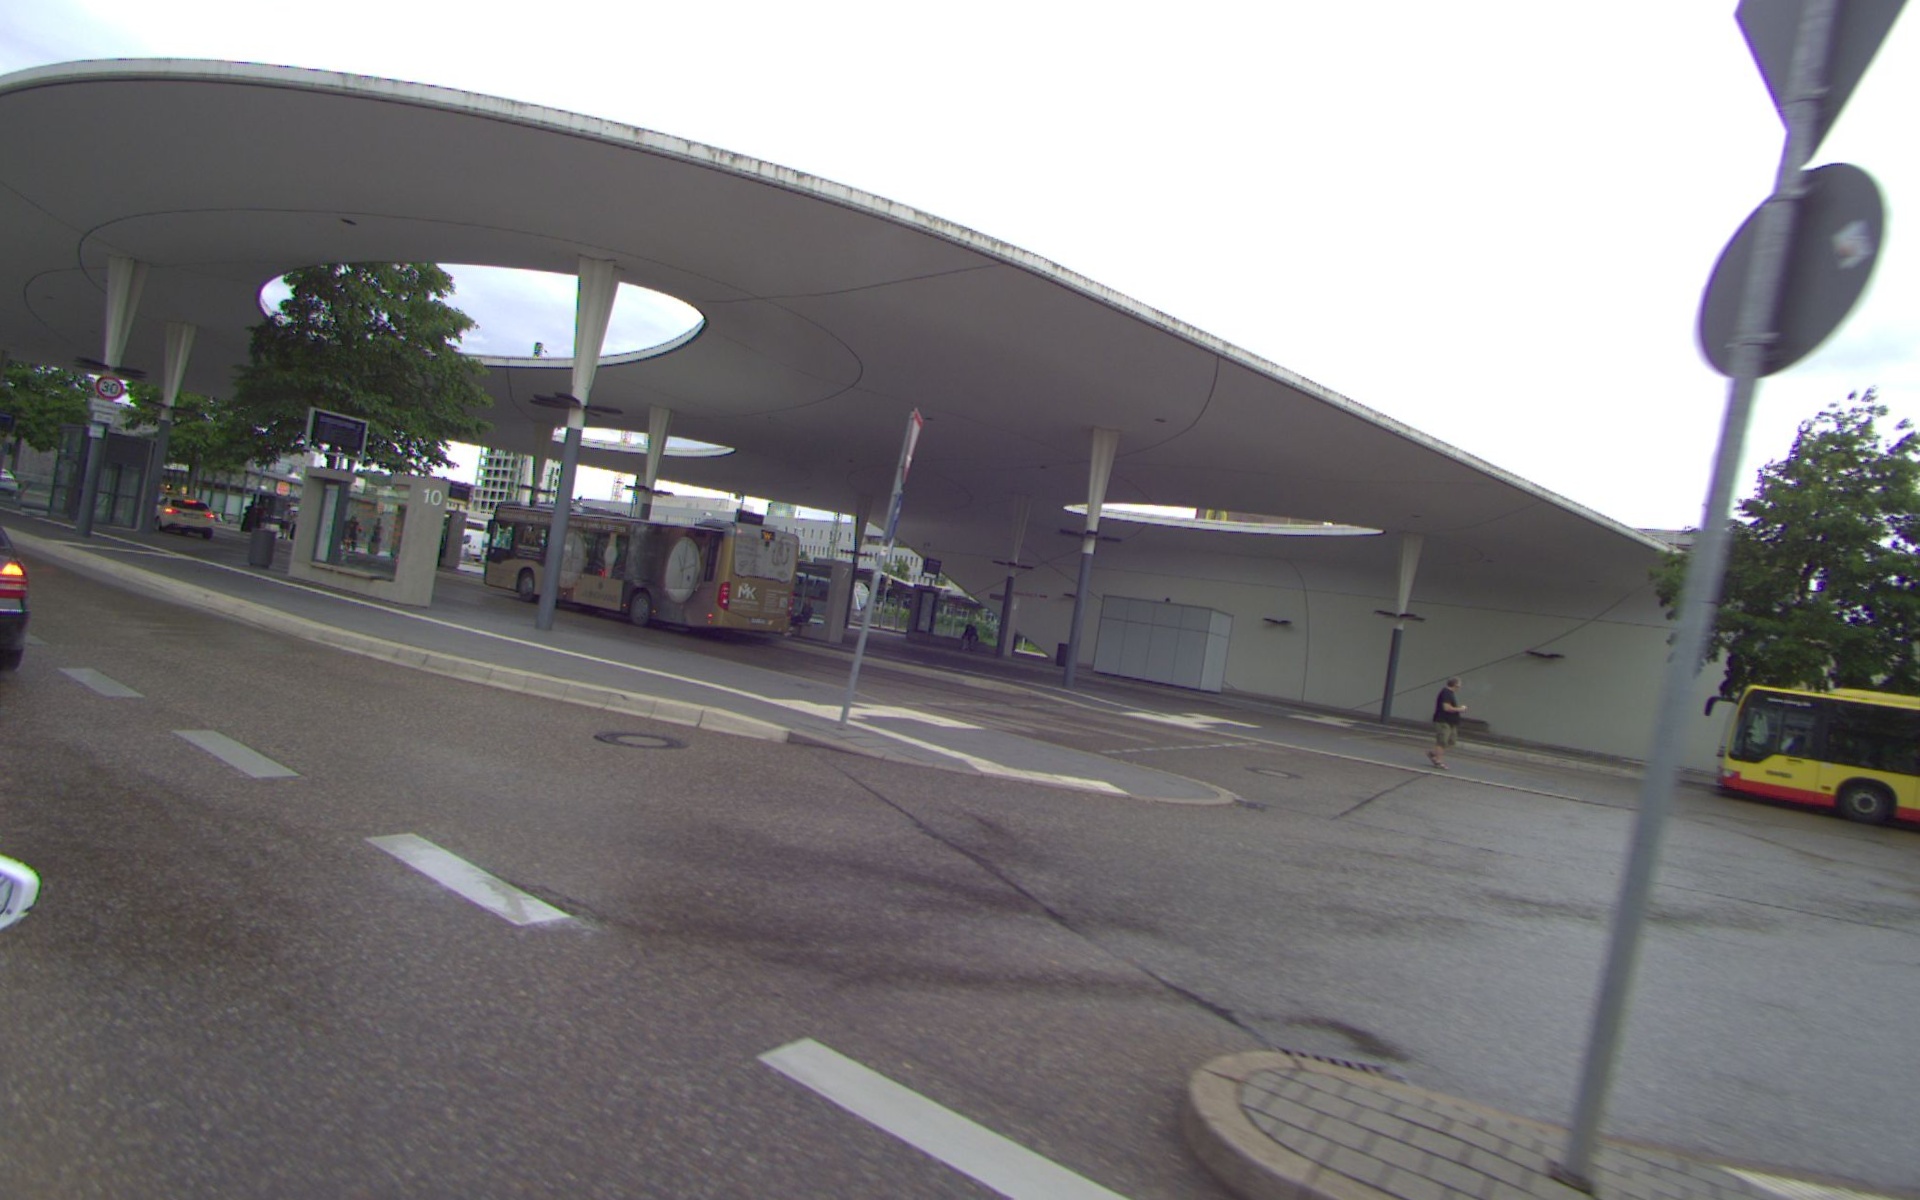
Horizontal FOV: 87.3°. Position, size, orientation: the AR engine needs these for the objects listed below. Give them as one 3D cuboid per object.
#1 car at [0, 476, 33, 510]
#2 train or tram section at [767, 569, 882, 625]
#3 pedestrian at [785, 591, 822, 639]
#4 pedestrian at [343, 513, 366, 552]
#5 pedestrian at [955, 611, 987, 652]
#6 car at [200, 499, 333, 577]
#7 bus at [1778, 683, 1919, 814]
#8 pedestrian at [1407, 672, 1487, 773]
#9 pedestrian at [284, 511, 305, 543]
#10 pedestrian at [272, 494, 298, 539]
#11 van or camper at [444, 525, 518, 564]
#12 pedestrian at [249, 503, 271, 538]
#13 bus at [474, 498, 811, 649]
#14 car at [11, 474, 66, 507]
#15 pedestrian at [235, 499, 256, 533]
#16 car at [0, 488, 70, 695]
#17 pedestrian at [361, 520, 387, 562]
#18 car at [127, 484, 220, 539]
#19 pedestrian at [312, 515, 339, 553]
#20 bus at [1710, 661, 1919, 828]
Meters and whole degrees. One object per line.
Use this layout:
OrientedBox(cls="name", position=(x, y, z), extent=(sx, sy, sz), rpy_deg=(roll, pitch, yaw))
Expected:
OrientedBox(cls="car", position=(-56.398, -6.431, 59.263), extent=(4.173, 1.681, 1.714), rpy_deg=(8, -1, 36))
OrientedBox(cls="train or tram section", position=(-13.093, -0.367, 96.112), extent=(11.434, 3.716, 3.139), rpy_deg=(8, -4, 36))
OrientedBox(cls="pedestrian", position=(-4.958, 0.472, 31.806), extent=(0.789, 1.394, 0.627), rpy_deg=(7, 0, -37))
OrientedBox(cls="pedestrian", position=(-29.044, -3.226, 48.250), extent=(0.706, 1.732, 0.758), rpy_deg=(3, 7, -41))
OrientedBox(cls="pedestrian", position=(0.480, 1.339, 43.226), extent=(0.893, 1.603, 0.797), rpy_deg=(7, -2, 30))
OrientedBox(cls="car", position=(-17.712, -1.588, 25.667), extent=(3.186, 1.470, 1.649), rpy_deg=(8, 0, 35))
OrientedBox(cls="bus", position=(30.869, 4.936, 29.866), extent=(9.701, 3.441, 2.516), rpy_deg=(7, 0, 35))
OrientedBox(cls="pedestrian", position=(9.179, 2.290, 18.988), extent=(1.002, 1.705, 0.719), rpy_deg=(7, 1, 10))
OrientedBox(cls="pedestrian", position=(-35.721, -3.928, 54.023), extent=(0.573, 1.593, 0.560), rpy_deg=(9, -5, -19))
OrientedBox(cls="pedestrian", position=(-33.762, -4.176, 50.337), extent=(0.718, 2.033, 0.666), rpy_deg=(10, -5, -27))
OrientedBox(cls="van or camper", position=(-37.996, -4.397, 79.867), extent=(2.076, 2.296, 4.693), rpy_deg=(8, -1, 32))
OrientedBox(cls="pedestrian", position=(-37.041, -4.192, 53.233), extent=(0.573, 1.733, 0.560), rpy_deg=(9, -5, -19))
OrientedBox(cls="bus", position=(-9.748, -0.967, 29.582), extent=(11.901, 3.081, 2.722), rpy_deg=(8, 0, 36))
OrientedBox(cls="car", position=(-58.646, -6.981, 64.006), extent=(3.352, 1.575, 1.546), rpy_deg=(8, -4, 32))
OrientedBox(cls="pedestrian", position=(-37.107, -4.358, 52.275), extent=(0.574, 1.593, 0.559), rpy_deg=(9, -5, -24))
OrientedBox(cls="car", position=(-9.031, -0.317, 8.173), extent=(4.235, 1.480, 1.698), rpy_deg=(8, 1, 35))
OrientedBox(cls="pedestrian", position=(-25.375, -2.559, 43.576), extent=(0.603, 1.712, 0.561), rpy_deg=(9, 0, 30))
OrientedBox(cls="car", position=(-31.783, -3.579, 40.640), extent=(4.173, 1.681, 1.714), rpy_deg=(8, -1, 36))
OrientedBox(cls="pedestrian", position=(-28.560, -2.982, 45.260), extent=(0.699, 1.600, 0.599), rpy_deg=(6, -1, 27))
OrientedBox(cls="bus", position=(24.360, 3.826, 22.341), extent=(11.948, 3.295, 2.791), rpy_deg=(7, -1, 35))
